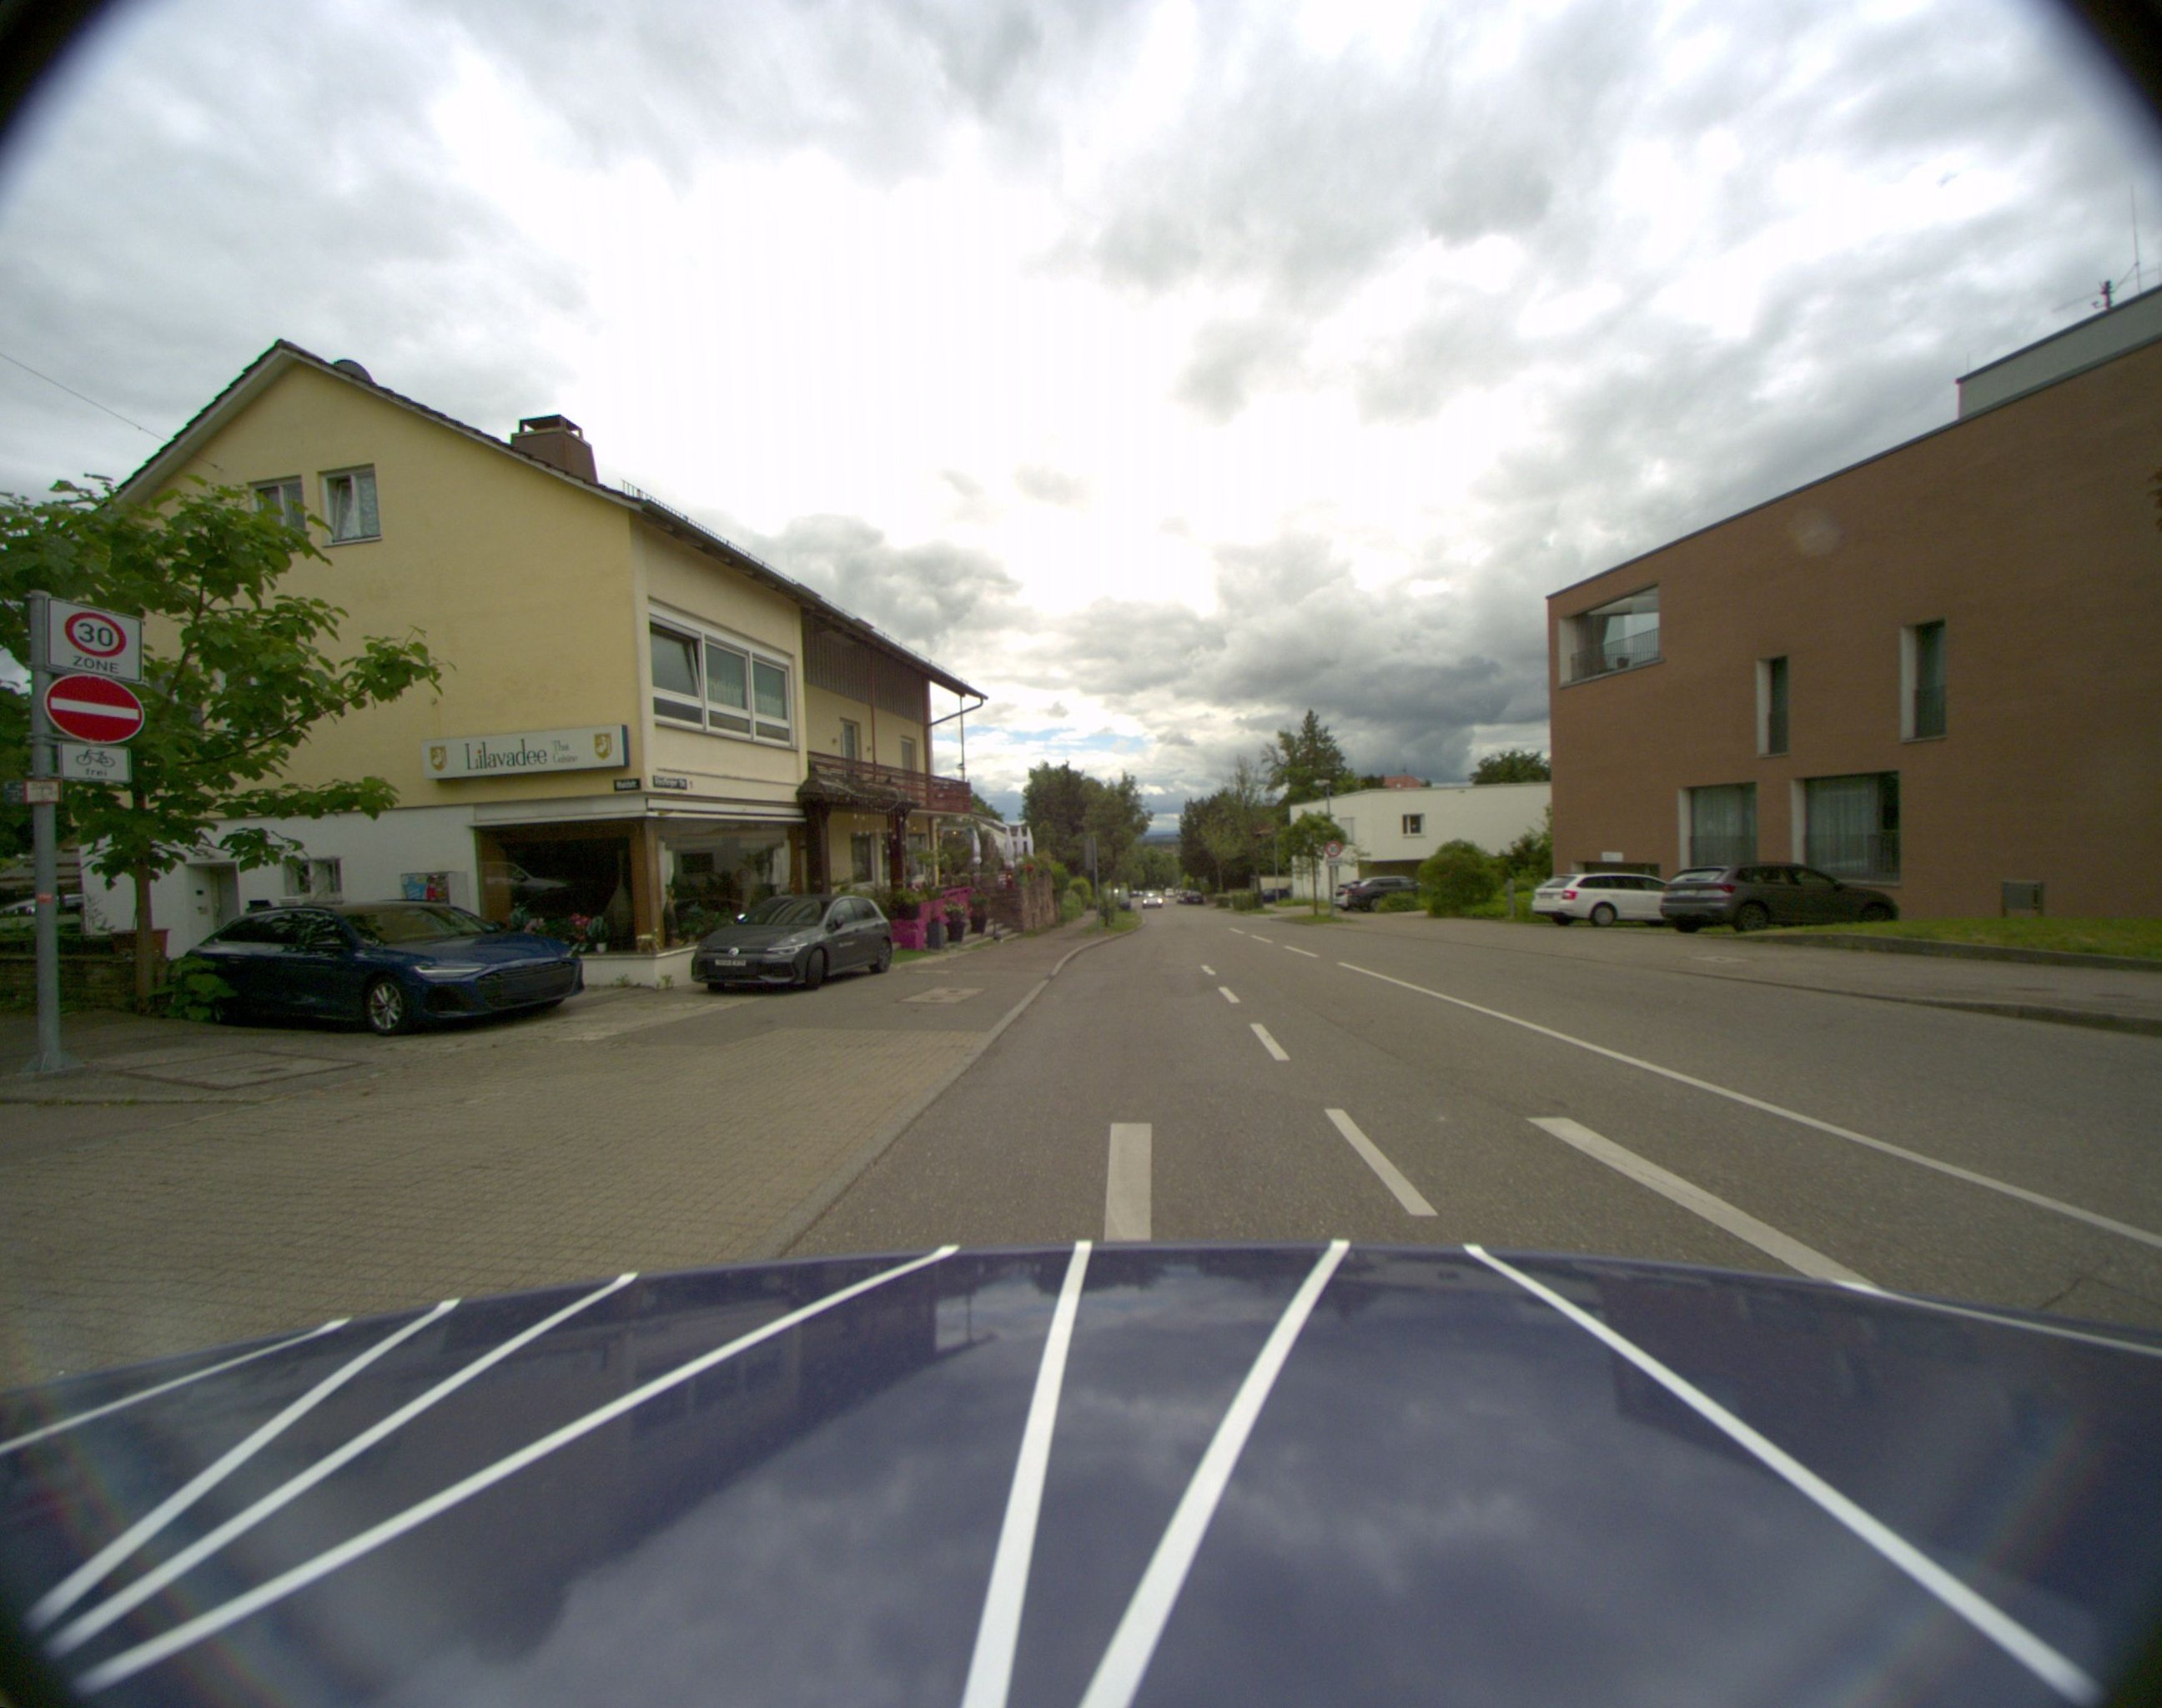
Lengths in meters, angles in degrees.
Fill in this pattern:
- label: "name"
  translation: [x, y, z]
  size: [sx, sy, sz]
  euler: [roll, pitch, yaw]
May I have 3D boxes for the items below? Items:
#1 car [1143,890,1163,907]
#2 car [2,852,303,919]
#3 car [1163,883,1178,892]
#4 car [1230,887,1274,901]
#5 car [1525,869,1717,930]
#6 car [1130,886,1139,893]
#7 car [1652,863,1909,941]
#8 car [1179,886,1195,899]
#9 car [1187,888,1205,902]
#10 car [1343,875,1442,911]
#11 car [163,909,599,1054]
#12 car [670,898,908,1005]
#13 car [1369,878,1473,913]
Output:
- label: "car"
  translation: [6.620, 4.074, 69.739]
  size: [1.725, 1.476, 4.004]
  euler: [-2, -3, 6]
- label: "car"
  translation: [-22.708, 0.824, 18.861]
  size: [1.795, 1.452, 4.336]
  euler: [-2, -4, 22]
- label: "car"
  translation: [16.219, 6.057, 137.975]
  size: [1.884, 1.412, 4.368]
  euler: [-1, -1, -2]
- label: "car"
  translation: [16.555, 3.877, 73.731]
  size: [3.995, 1.278, 1.665]
  euler: [-2, -3, 7]
- label: "car"
  translation: [14.619, 1.224, 20.715]
  size: [3.998, 1.476, 1.727]
  euler: [-1, -3, -3]
- label: "car"
  translation: [13.057, 8.568, 184.196]
  size: [1.883, 1.412, 4.369]
  euler: [-1, -1, 1]
- label: "car"
  translation: [14.918, 1.011, 16.347]
  size: [3.998, 1.476, 1.727]
  euler: [-1, -3, -3]
- label: "car"
  translation: [12.506, 4.546, 89.578]
  size: [1.661, 1.412, 4.372]
  euler: [-2, -3, 6]
- label: "car"
  translation: [12.189, 4.292, 80.580]
  size: [1.661, 1.412, 4.004]
  euler: [-2, -3, 6]
- label: "car"
  translation: [15.060, 1.891, 36.879]
  size: [3.996, 1.585, 1.795]
  euler: [-2, -3, 3]
- label: "car"
  translation: [-8.526, 1.417, 9.292]
  size: [4.739, 1.378, 1.802]
  euler: [-2, -1, 18]
- label: "car"
  translation: [-4.540, 1.477, 12.629]
  size: [1.796, 1.452, 4.332]
  euler: [-1, -4, 8]
- label: "car"
  translation: [15.606, 1.893, 35.037]
  size: [3.996, 1.476, 1.728]
  euler: [-2, -3, 3]
